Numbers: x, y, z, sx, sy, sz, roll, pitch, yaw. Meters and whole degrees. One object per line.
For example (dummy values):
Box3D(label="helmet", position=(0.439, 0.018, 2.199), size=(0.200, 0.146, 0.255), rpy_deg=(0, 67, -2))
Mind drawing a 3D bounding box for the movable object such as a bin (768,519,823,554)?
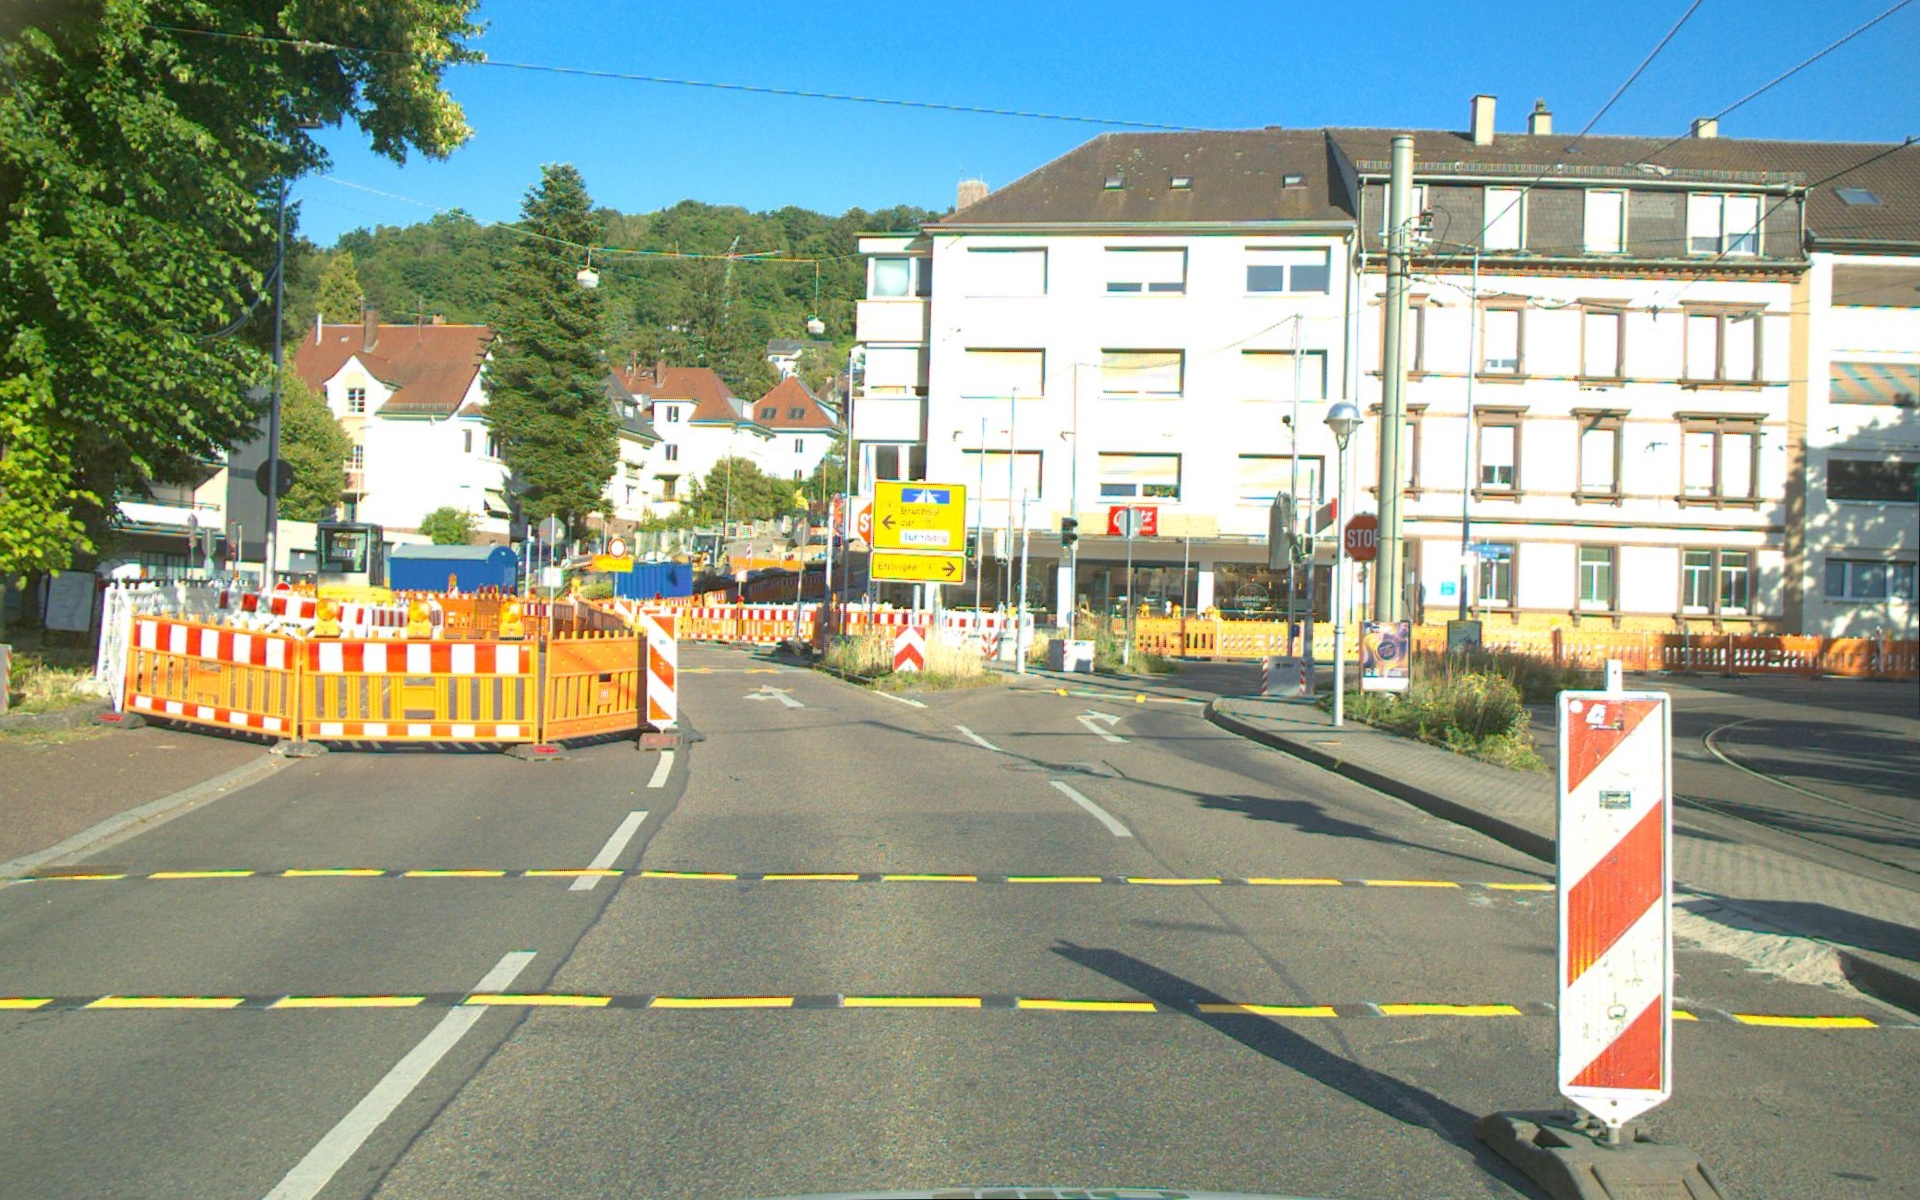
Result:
Box3D(label="movable object such as a bin", position=(-11.381, -4.382, 114.731), size=(2.510, 2.159, 5.789), rpy_deg=(1, 0, 8))

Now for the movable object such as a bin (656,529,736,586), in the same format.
Box3D(label="movable object such as a bin", position=(-12.537, -1.996, 78.781), size=(1.907, 2.538, 4.554), rpy_deg=(1, 0, 17))

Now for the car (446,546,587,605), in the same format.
Box3D(label="car", position=(-17.556, -0.936, 65.889), size=(2.529, 2.158, 6.154), rpy_deg=(1, 0, 17))

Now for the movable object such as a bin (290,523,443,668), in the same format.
Box3D(label="movable object such as a bin", position=(-10.434, -0.089, 29.334), size=(1.615, 2.365, 3.916), rpy_deg=(1, 0, -6))
